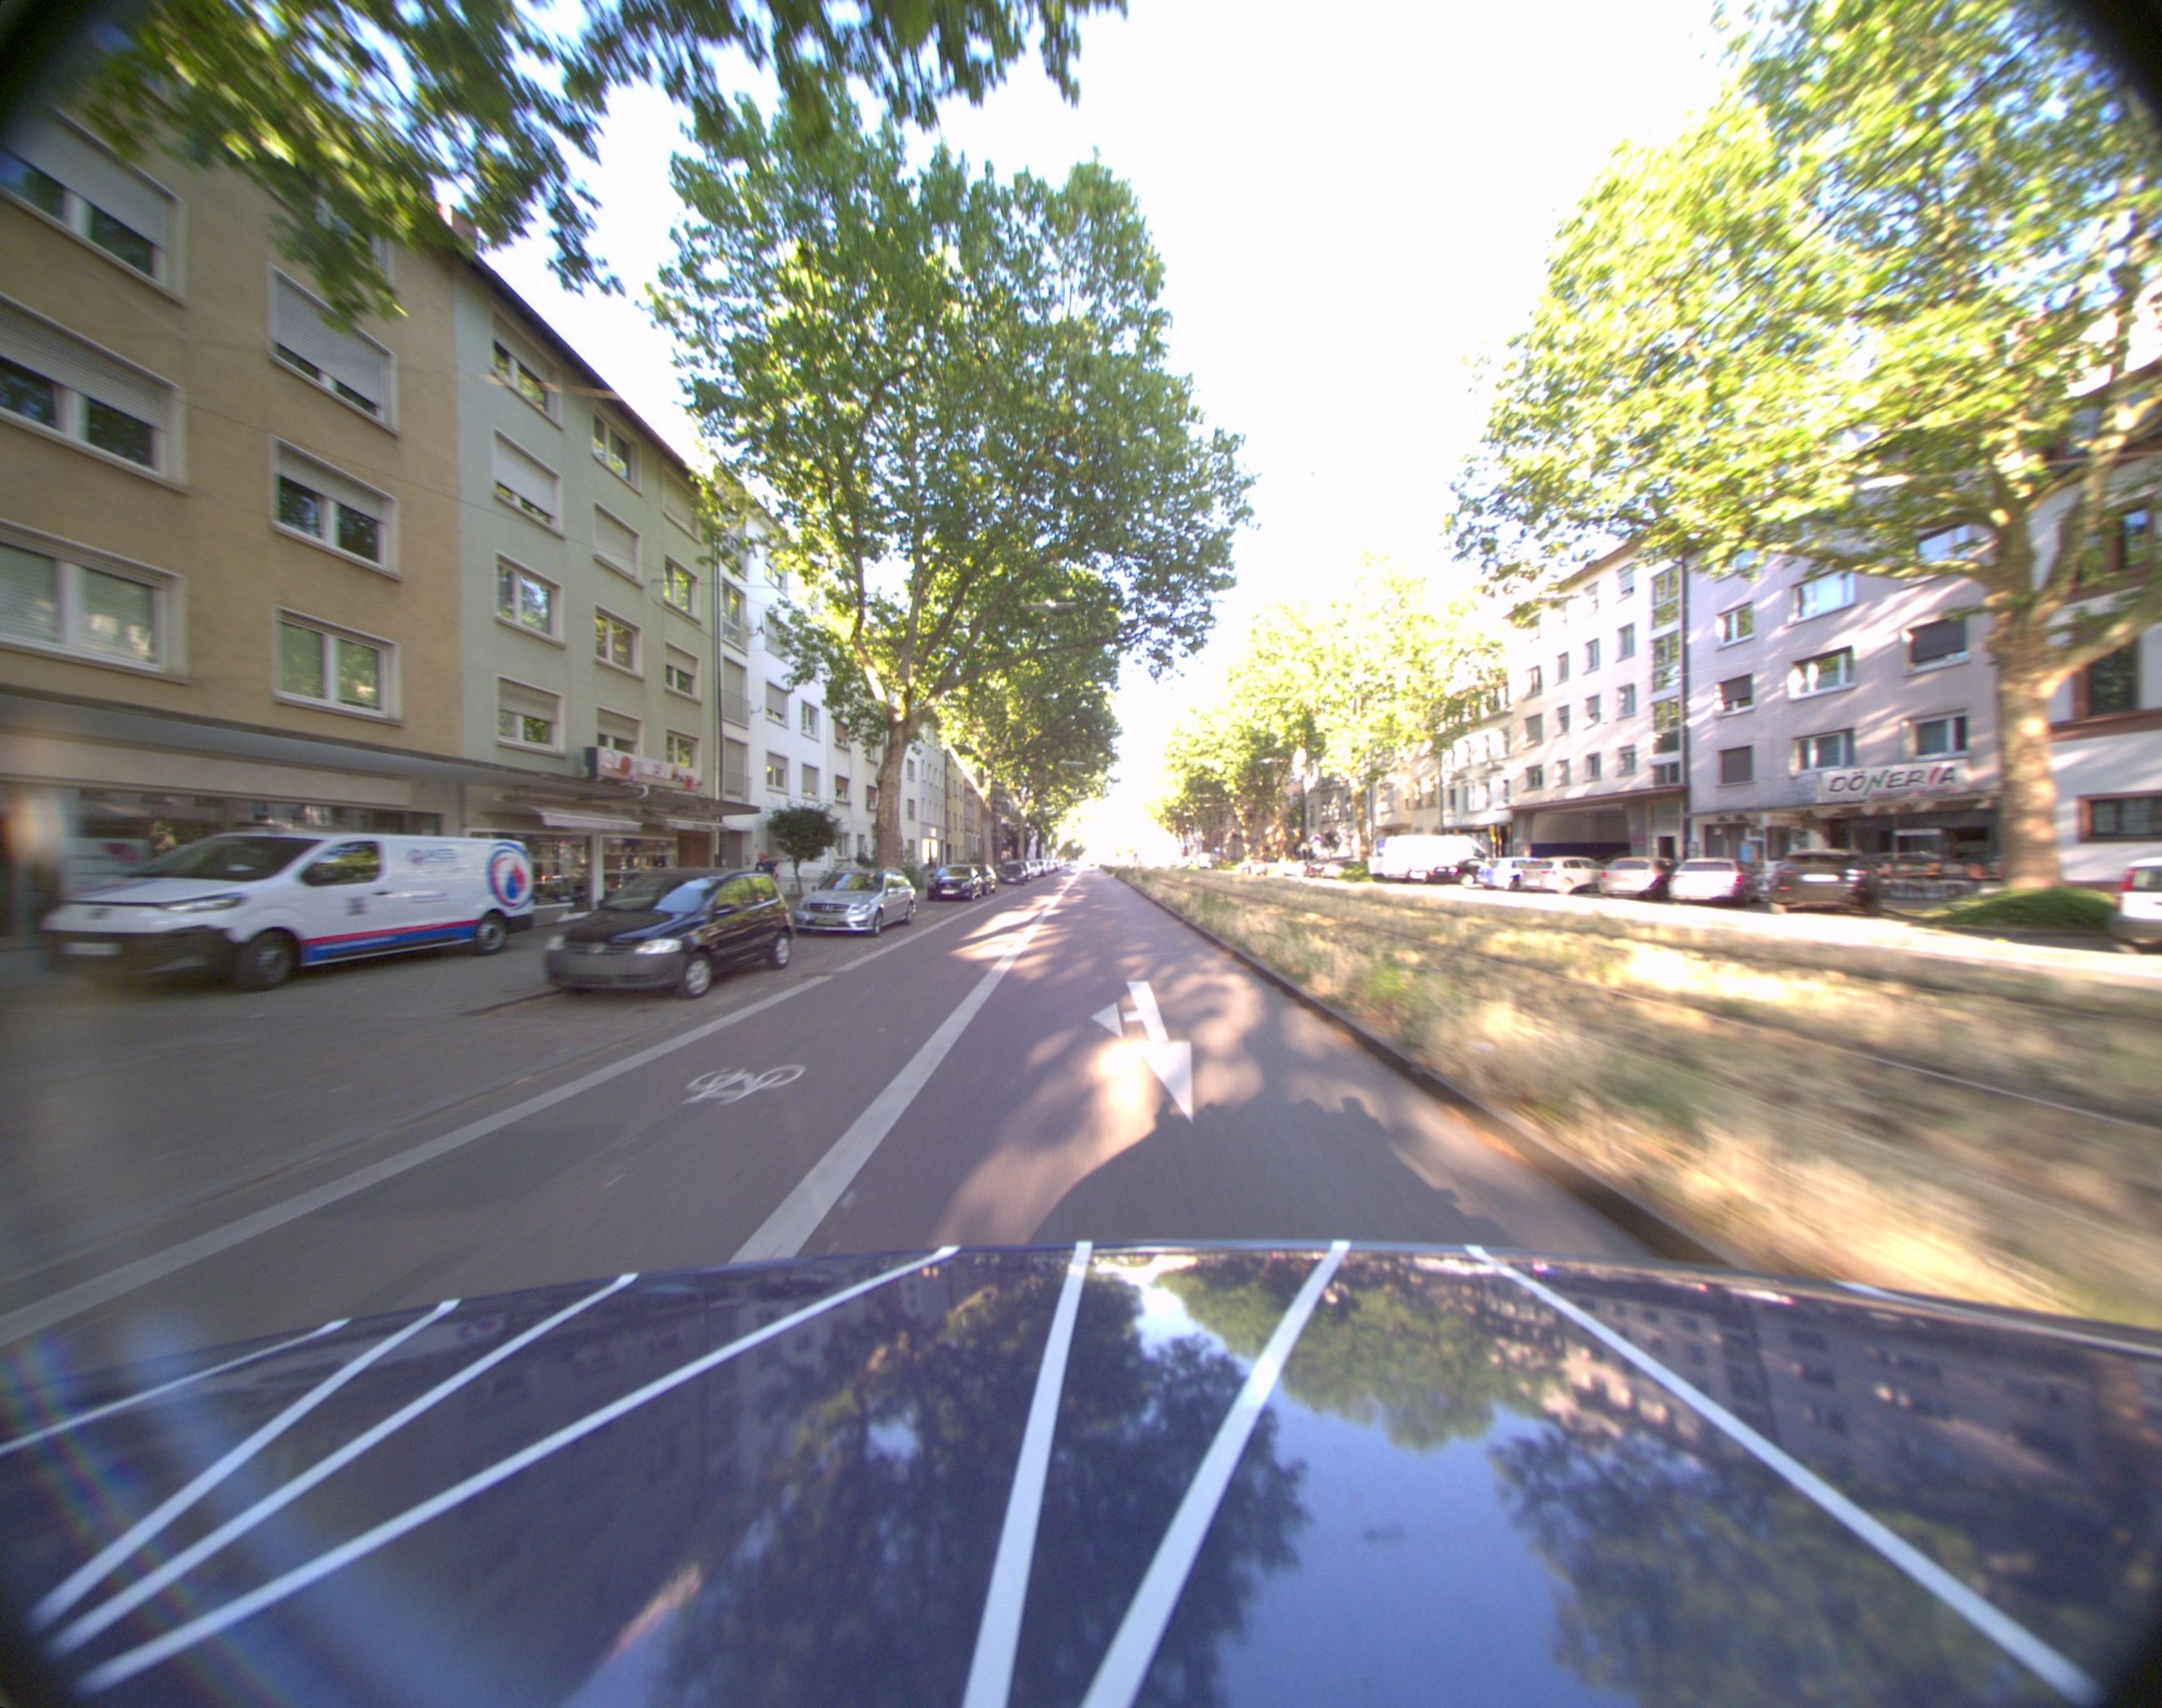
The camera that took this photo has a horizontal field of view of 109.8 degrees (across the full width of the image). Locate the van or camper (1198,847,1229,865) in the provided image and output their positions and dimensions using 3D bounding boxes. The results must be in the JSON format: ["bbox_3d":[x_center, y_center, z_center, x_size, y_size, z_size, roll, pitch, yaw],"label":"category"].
[{"bbox_3d":[20.007,0.304,114.870,4.371,2.386,2.196,-4,1,-39],"label":"van or camper"}]

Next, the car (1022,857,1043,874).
[{"bbox_3d":[-4.528,1.057,71.905,1.702,1.517,4.195,-1,0,0],"label":"car"}]

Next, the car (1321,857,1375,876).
[{"bbox_3d":[19.475,0.927,55.405,4.014,1.349,1.797,1,0,-36],"label":"car"}]

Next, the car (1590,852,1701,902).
[{"bbox_3d":[19.410,0.749,26.091,4.006,1.414,1.752,-3,1,-33],"label":"car"}]

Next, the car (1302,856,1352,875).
[{"bbox_3d":[20.093,0.933,62.064,4.008,1.524,1.821,1,-1,-35],"label":"car"}]

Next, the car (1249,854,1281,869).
[{"bbox_3d":[20.005,0.821,82.549,1.726,1.643,4.009,-1,-1,41],"label":"car"}]

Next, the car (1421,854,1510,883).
[{"bbox_3d":[20.256,0.749,40.073,4.004,1.482,1.997,0,0,-21],"label":"car"}]

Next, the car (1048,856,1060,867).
[{"bbox_3d":[-3.984,1.150,112.591,1.791,1.585,4.013,1,0,-1],"label":"car"}]

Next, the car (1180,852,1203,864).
[{"bbox_3d":[20.331,0.730,139.958,4.007,2.002,1.995,-3,1,-41],"label":"car"}]

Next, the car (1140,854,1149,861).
[{"bbox_3d":[14.968,0.797,179.829,1.998,1.477,4.000,-3,0,3],"label":"car"}]

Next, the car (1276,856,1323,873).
[{"bbox_3d":[19.149,0.929,66.583,3.687,1.382,1.822,-1,0,-30],"label":"car"}]

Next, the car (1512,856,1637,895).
[{"bbox_3d":[19.579,0.821,30.219,4.001,1.483,1.949,0,0,-13],"label":"car"}]

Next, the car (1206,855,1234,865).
[{"bbox_3d":[20.586,0.858,112.337,4.006,1.240,1.726,-4,1,-33],"label":"car"}]

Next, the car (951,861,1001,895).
[{"bbox_3d":[-4.910,1.091,36.064,1.713,1.407,4.363,1,0,0],"label":"car"}]

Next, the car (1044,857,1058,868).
[{"bbox_3d":[-4.103,1.190,105.300,1.790,1.458,3.570,1,0,0],"label":"car"}]

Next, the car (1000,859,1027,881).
[{"bbox_3d":[-4.556,1.067,51.983,1.748,1.455,4.024,-1,0,-4],"label":"car"}]

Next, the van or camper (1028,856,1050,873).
[{"bbox_3d":[-4.302,1.046,78.202,1.790,1.710,4.380,1,0,2],"label":"van or camper"}]

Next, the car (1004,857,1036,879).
[{"bbox_3d":[-4.659,1.037,58.761,1.998,1.557,4.664,1,0,0],"label":"car"}]

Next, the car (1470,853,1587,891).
[{"bbox_3d":[19.419,0.768,33.076,3.998,1.412,1.857,-3,1,-3],"label":"car"}]

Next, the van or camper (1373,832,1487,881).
[{"bbox_3d":[19.566,0.120,42.595,5.973,2.630,2.175,-1,0,-20],"label":"van or camper"}]

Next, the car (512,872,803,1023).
[{"bbox_3d":[-5.314,1.061,10.219,1.658,1.536,4.000,0,0,0],"label":"car"}]

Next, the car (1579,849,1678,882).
[{"bbox_3d":[29.418,0.596,40.904,3.997,1.710,1.906,0,1,0],"label":"car"}]

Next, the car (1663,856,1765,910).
[{"bbox_3d":[19.277,0.825,23.073,4.008,1.377,1.907,-2,0,-44],"label":"car"}]

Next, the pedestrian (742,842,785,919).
[{"bbox_3d":[-8.380,0.684,20.107,0.684,2.002,1.012,-1,1,0],"label":"pedestrian"}]

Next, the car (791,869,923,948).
[{"bbox_3d":[-5.083,1.167,17.973,1.699,1.533,4.777,-1,0,0],"label":"car"}]

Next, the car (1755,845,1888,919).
[{"bbox_3d":[18.932,0.652,19.378,4.008,1.651,1.995,-1,0,-40],"label":"car"}]

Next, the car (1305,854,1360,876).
[{"bbox_3d":[19.469,0.840,58.693,4.169,1.583,1.932,2,-1,-36],"label":"car"}]

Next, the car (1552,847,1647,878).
[{"bbox_3d":[29.505,0.459,43.344,3.997,1.533,2.000,-3,1,-1],"label":"car"}]

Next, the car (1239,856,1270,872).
[{"bbox_3d":[16.035,0.881,70.292,1.825,1.381,4.484,1,0,0],"label":"car"}]

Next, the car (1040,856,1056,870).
[{"bbox_3d":[-4.126,1.114,95.226,1.790,1.609,3.829,1,0,0],"label":"car"}]

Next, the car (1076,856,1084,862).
[{"bbox_3d":[-0.198,1.230,185.955,1.893,1.501,4.000,-3,0,2],"label":"car"}]

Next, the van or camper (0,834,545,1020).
[{"bbox_3d":[-10.320,0.757,10.528,1.947,1.911,5.391,0,0,0],"label":"van or camper"}]

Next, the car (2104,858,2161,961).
[{"bbox_3d":[18.178,0.806,11.967,4.369,1.440,1.656,-2,1,-26],"label":"car"}]

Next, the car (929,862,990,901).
[{"bbox_3d":[-4.897,1.069,31.172,1.713,1.407,4.363,1,0,0],"label":"car"}]
